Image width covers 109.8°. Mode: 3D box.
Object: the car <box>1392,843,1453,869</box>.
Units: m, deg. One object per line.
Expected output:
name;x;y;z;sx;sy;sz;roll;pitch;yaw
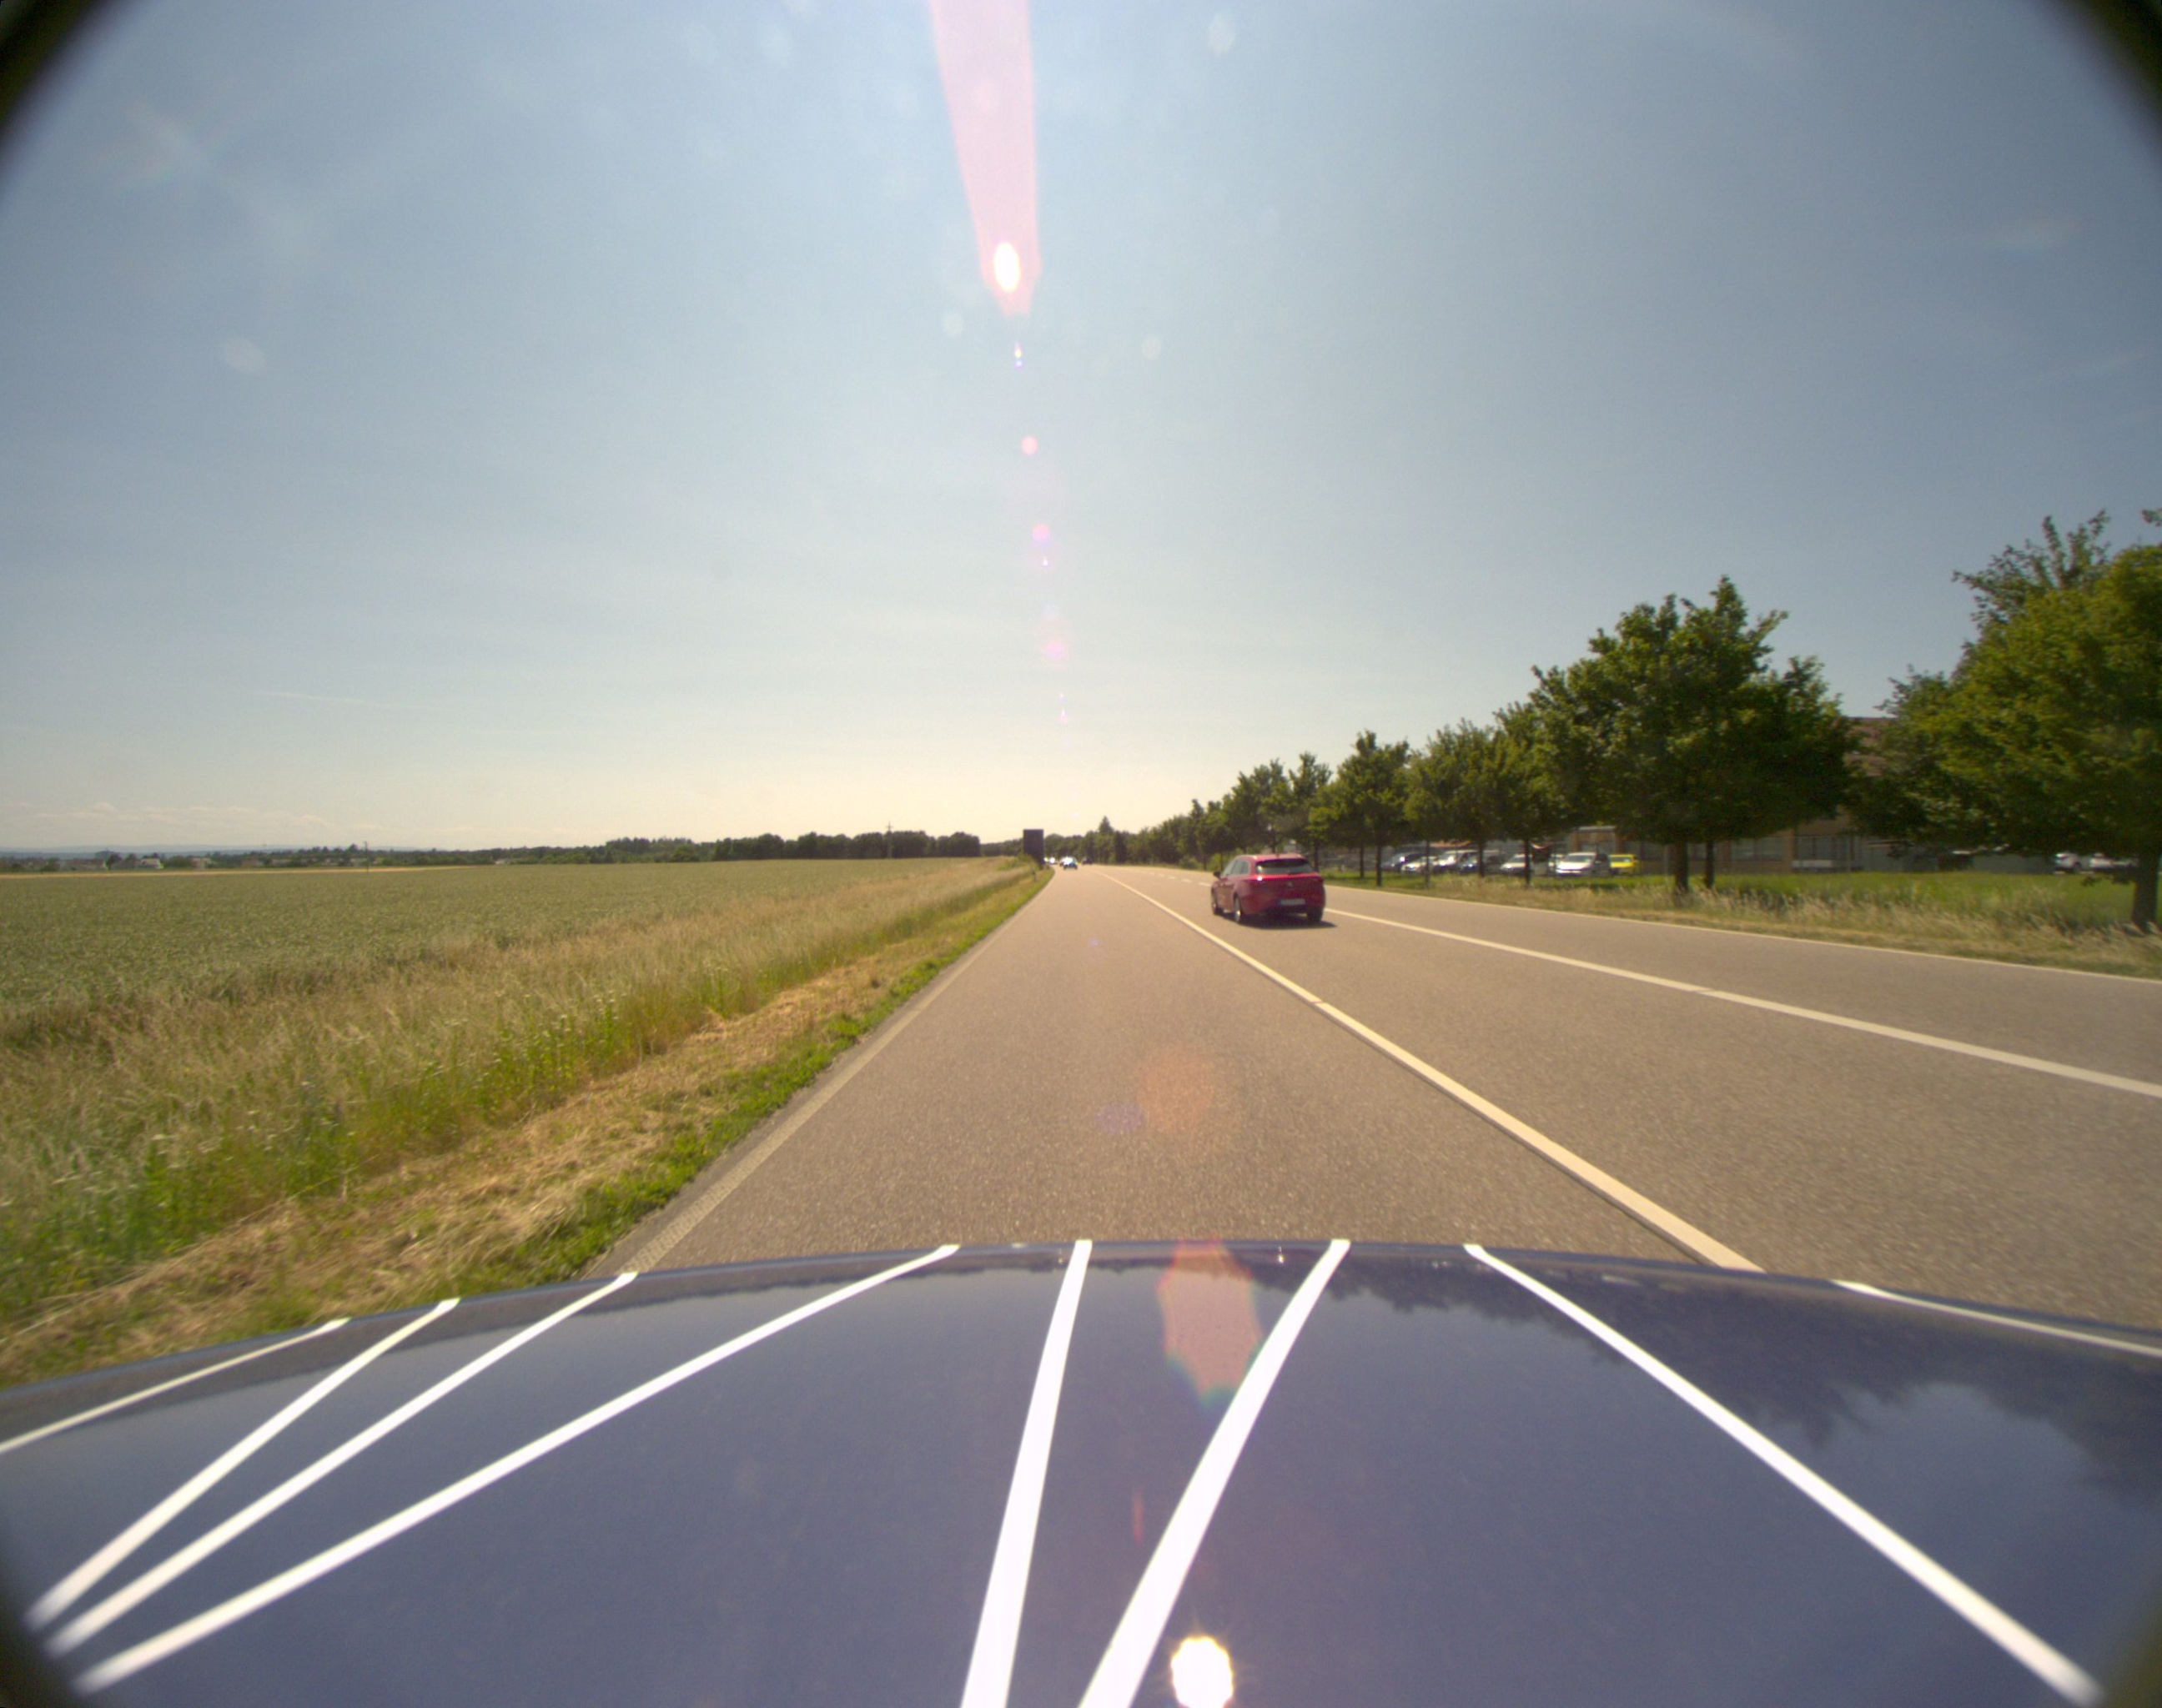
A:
car;36.310;0.199;80.872;5.729;2.707;2.370;0;0;30

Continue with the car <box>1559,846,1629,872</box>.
car;48.333;0.458;71.710;2.060;2.412;5.089;0;0;-38

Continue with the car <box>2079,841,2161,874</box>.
car;48.844;0.161;35.328;3.613;1.412;1.431;-2;1;-9

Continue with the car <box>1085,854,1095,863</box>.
car;1.596;0.826;136.926;1.684;1.490;3.885;-2;0;-1

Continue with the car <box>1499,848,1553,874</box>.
car;27.887;0.446;47.560;4.001;1.471;1.668;-2;0;-40

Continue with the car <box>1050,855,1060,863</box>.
car;-5.878;1.166;169.031;1.555;1.659;3.995;-3;1;-11

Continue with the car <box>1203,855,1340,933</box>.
car;3.982;0.758;16.725;1.747;1.403;4.624;-2;0;-1

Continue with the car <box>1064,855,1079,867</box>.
car;-1.254;0.819;96.519;1.693;1.431;3.709;-2;0;-3

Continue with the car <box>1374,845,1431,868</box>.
car;27.095;0.237;64.010;4.310;1.791;2.021;-2;0;-25

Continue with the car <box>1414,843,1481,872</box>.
car;26.748;0.246;55.394;4.671;1.943;1.823;-2;0;-26

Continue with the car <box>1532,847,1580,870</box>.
car;32.470;0.330;51.927;3.352;1.444;1.509;-2;0;-34

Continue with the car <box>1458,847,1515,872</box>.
car;28.084;0.392;52.595;4.007;1.586;1.995;-2;0;-37

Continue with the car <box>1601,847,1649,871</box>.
car;33.880;0.307;47.278;4.008;1.390;1.734;-2;0;-44

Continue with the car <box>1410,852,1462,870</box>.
car;27.804;0.539;59.489;3.684;1.257;1.812;-2;0;-28

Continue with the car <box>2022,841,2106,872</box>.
car;48.788;0.116;37.719;3.068;1.412;1.230;-2;1;-9

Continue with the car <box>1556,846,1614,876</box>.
car;28.667;0.401;43.149;4.350;1.534;1.585;-2;0;-41
